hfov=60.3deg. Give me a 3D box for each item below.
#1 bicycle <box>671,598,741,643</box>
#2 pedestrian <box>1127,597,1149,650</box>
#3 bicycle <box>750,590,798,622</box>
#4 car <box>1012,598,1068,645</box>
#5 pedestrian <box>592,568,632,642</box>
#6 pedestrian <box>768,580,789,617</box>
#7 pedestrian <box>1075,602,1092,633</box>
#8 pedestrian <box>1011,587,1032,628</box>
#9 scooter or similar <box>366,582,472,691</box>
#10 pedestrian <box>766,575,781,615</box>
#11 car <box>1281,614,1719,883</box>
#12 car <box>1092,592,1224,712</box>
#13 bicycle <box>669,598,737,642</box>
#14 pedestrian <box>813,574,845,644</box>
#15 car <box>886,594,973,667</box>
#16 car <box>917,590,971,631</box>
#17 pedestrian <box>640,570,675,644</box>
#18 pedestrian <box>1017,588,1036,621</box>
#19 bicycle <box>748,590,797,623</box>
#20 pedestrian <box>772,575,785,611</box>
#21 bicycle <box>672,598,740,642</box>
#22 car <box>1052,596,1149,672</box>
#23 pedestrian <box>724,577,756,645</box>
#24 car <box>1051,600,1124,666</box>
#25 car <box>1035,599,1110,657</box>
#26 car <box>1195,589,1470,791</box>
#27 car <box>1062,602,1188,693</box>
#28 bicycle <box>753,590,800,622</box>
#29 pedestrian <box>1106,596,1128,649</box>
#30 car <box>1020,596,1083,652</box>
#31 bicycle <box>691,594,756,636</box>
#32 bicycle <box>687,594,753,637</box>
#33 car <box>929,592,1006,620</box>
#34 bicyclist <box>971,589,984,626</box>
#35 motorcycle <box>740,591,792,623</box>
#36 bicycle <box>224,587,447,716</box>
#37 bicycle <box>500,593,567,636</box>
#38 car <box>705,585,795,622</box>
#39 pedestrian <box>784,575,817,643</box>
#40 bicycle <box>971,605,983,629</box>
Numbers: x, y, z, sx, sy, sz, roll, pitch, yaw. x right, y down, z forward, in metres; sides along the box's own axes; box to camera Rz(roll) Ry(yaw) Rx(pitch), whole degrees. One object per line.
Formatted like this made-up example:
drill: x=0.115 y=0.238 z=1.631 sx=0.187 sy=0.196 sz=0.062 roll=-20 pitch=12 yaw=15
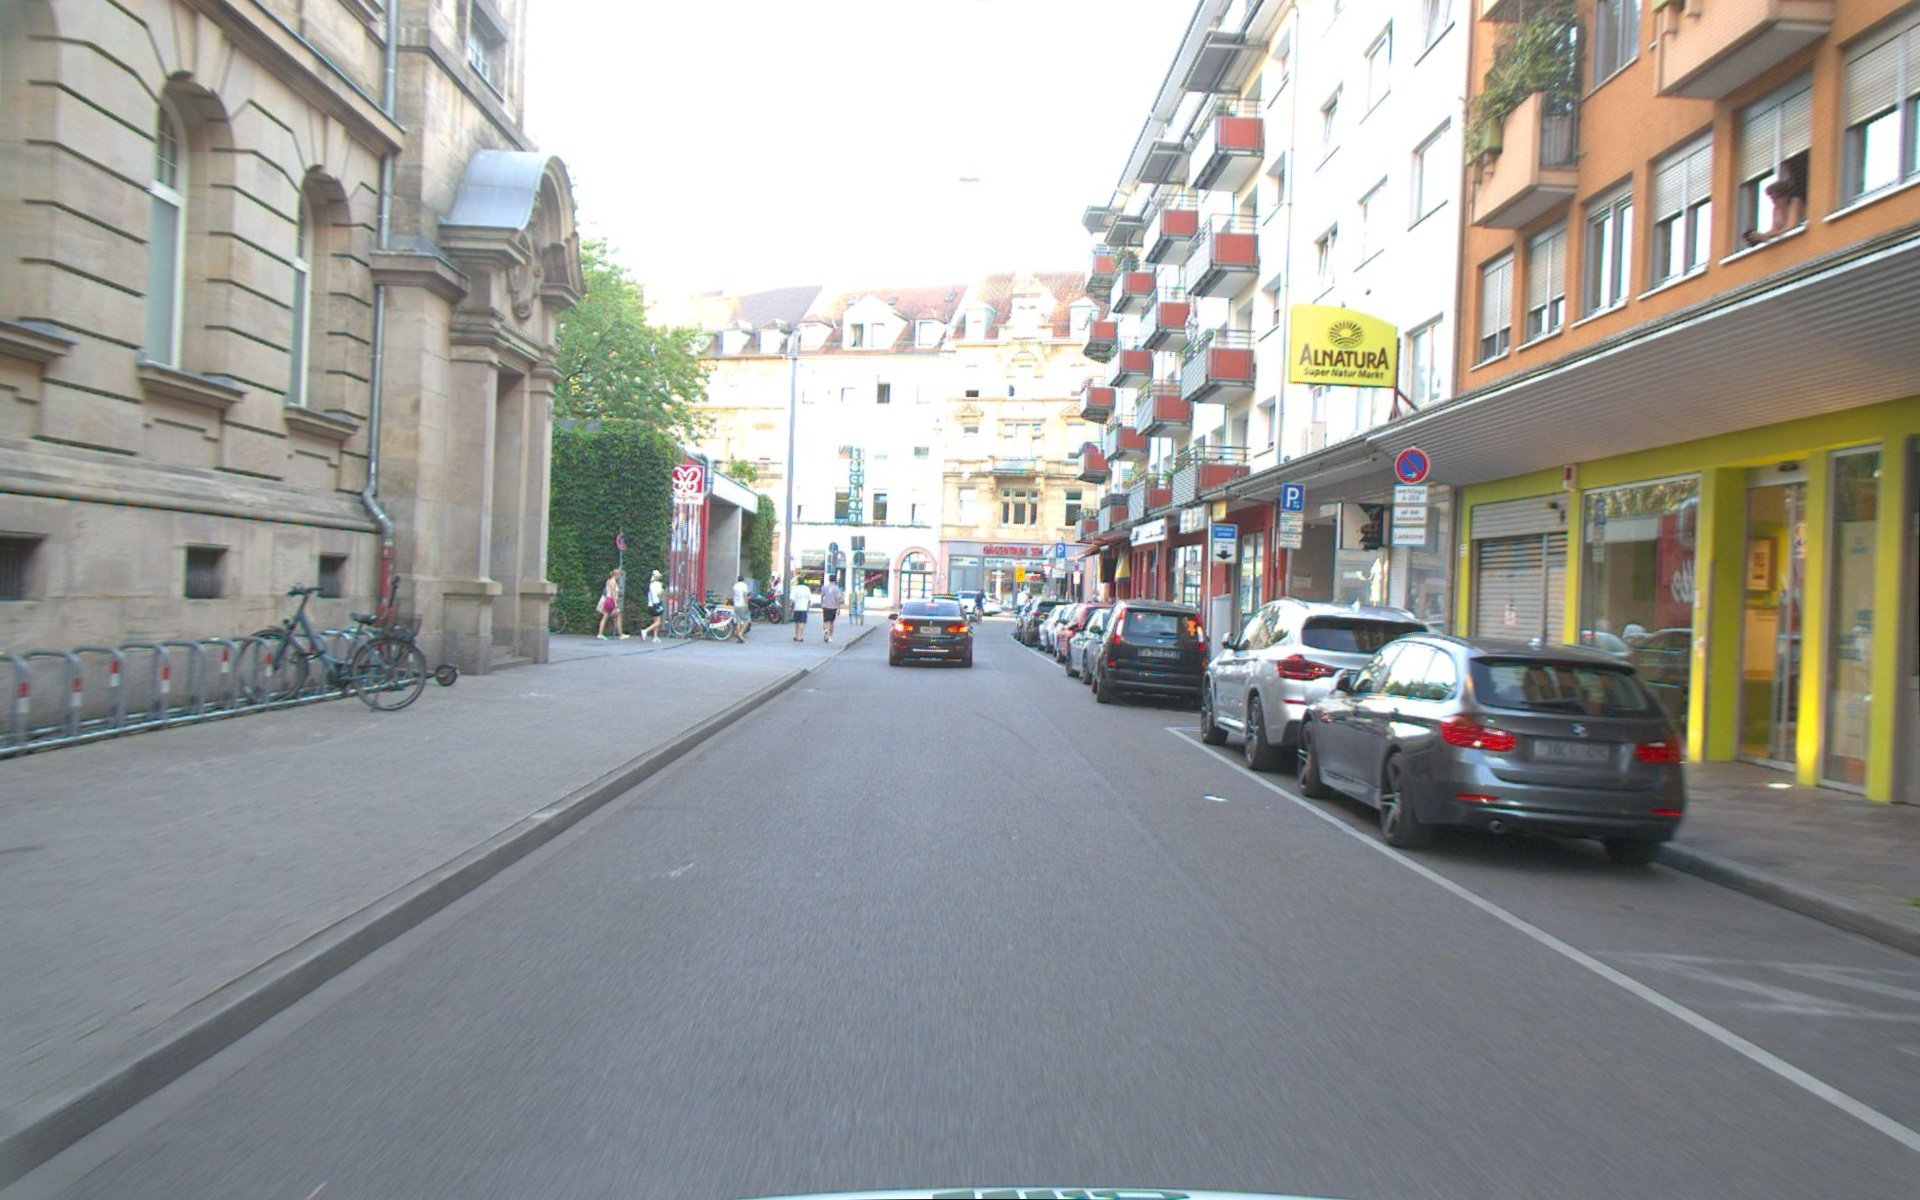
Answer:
bicycle: x=-6.857 y=0.542 z=44.664 sx=1.758 sy=1.127 sz=0.500 roll=2 pitch=0 yaw=-1
pedestrian: x=5.770 y=0.754 z=53.644 sx=0.634 sy=1.690 sz=0.794 roll=-1 pitch=0 yaw=1
bicycle: x=-7.193 y=0.244 z=63.990 sx=1.757 sy=1.127 sz=0.500 roll=4 pitch=0 yaw=1
car: x=2.970 y=0.785 z=62.119 sx=1.729 sy=1.528 sz=4.790 roll=4 pitch=1 yaw=0
pedestrian: x=-8.661 y=0.125 z=41.155 sx=0.737 sy=1.780 sz=0.846 roll=3 pitch=0 yaw=-1
pedestrian: x=-8.665 y=-0.072 z=78.948 sx=0.661 sy=1.776 sz=0.654 roll=2 pitch=0 yaw=39
pedestrian: x=5.234 y=0.746 z=69.961 sx=0.672 sy=1.309 sz=0.609 roll=1 pitch=0 yaw=8
pedestrian: x=2.948 y=0.346 z=79.558 sx=0.671 sy=1.910 sz=0.691 roll=3 pitch=0 yaw=-38
scooter or similar: x=-6.541 y=0.436 z=20.036 sx=1.113 sy=1.254 sz=0.495 roll=3 pitch=0 yaw=-13
pedestrian: x=-8.817 y=-0.238 z=78.229 sx=0.571 sy=1.915 sz=0.634 roll=1 pitch=0 yaw=5
car: x=3.781 y=0.934 z=12.537 sx=1.657 sy=1.439 sz=4.756 roll=4 pitch=1 yaw=0
car: x=3.110 y=0.763 z=26.740 sx=1.757 sy=1.637 sz=4.488 roll=4 pitch=1 yaw=3
bicycle: x=-6.988 y=0.534 z=45.007 sx=1.758 sy=1.127 sz=0.500 roll=2 pitch=0 yaw=-2
pedestrian: x=-3.723 y=0.240 z=46.973 sx=0.729 sy=1.926 sz=1.050 roll=3 pitch=0 yaw=0
car: x=-0.643 y=0.625 z=36.471 sx=1.729 sy=1.399 sz=4.790 roll=3 pitch=1 yaw=0
car: x=-0.587 y=0.380 z=63.924 sx=1.838 sy=1.498 sz=4.002 roll=2 pitch=1 yaw=3
pedestrian: x=-7.492 y=0.158 z=40.967 sx=0.636 sy=1.780 sz=0.985 roll=2 pitch=0 yaw=-1
pedestrian: x=3.234 y=0.227 z=80.594 sx=0.722 sy=1.539 sz=0.649 roll=3 pitch=0 yaw=-10
bicycle: x=-7.181 y=0.247 z=63.396 sx=1.758 sy=1.127 sz=0.500 roll=4 pitch=0 yaw=-2
pedestrian: x=-8.532 y=-0.352 z=77.596 sx=0.490 sy=1.672 sz=0.521 roll=1 pitch=0 yaw=1
bicycle: x=-6.998 y=0.538 z=45.543 sx=1.758 sy=1.127 sz=0.500 roll=2 pitch=0 yaw=-2
car: x=3.333 y=0.772 z=39.984 sx=1.678 sy=1.538 sz=4.650 roll=4 pitch=1 yaw=-2
pedestrian: x=-5.898 y=0.284 z=44.391 sx=0.702 sy=1.785 sz=0.848 roll=2 pitch=0 yaw=-2
car: x=3.375 y=0.850 z=44.519 sx=1.574 sy=1.538 sz=4.048 roll=4 pitch=1 yaw=0
car: x=3.320 y=0.794 z=49.695 sx=1.665 sy=1.477 sz=4.456 roll=4 pitch=1 yaw=-3
car: x=3.744 y=0.807 z=17.504 sx=1.717 sy=1.697 sz=4.756 roll=4 pitch=1 yaw=0
car: x=3.115 y=0.855 z=32.116 sx=1.702 sy=1.439 sz=4.680 roll=4 pitch=1 yaw=-2
bicycle: x=-7.183 y=0.244 z=64.739 sx=1.760 sy=1.127 sz=0.499 roll=4 pitch=0 yaw=-6
pedestrian: x=5.085 y=0.735 z=53.661 sx=0.634 sy=1.690 sz=0.655 roll=-1 pitch=0 yaw=1
car: x=3.060 y=0.774 z=56.229 sx=1.729 sy=1.670 sz=4.790 roll=4 pitch=1 yaw=-1
bicycle: x=-6.831 y=0.435 z=47.818 sx=1.757 sy=1.127 sz=0.500 roll=3 pitch=0 yaw=2
bicycle: x=-6.837 y=0.429 z=47.186 sx=1.757 sy=1.127 sz=0.500 roll=3 pitch=0 yaw=2
car: x=0.463 y=0.355 z=100.246 sx=4.263 sy=1.589 sz=1.868 roll=2 pitch=-1 yaw=22
bicyclist: x=0.862 y=0.386 z=80.892 sx=0.513 sy=1.787 sz=0.620 roll=3 pitch=0 yaw=2
motorcycle: x=-7.277 y=0.277 z=61.961 sx=1.765 sy=1.082 sz=0.764 roll=3 pitch=0 yaw=25
bicycle: x=-6.099 y=0.505 z=16.256 sx=1.906 sy=1.080 sz=0.617 roll=5 pitch=-1 yaw=-16
bicycle: x=-11.086 y=0.371 z=43.004 sx=1.626 sy=1.031 sz=0.370 roll=2 pitch=0 yaw=0
car: x=-9.446 y=0.161 z=74.242 sx=3.913 sy=1.527 sz=1.887 roll=1 pitch=0 yaw=-9
pedestrian: x=-4.497 y=0.252 z=46.650 sx=0.726 sy=1.844 sz=1.008 roll=4 pitch=0 yaw=-1
bicycle: x=0.839 y=0.823 z=80.914 sx=0.525 sy=1.127 sz=1.800 roll=3 pitch=0 yaw=2
